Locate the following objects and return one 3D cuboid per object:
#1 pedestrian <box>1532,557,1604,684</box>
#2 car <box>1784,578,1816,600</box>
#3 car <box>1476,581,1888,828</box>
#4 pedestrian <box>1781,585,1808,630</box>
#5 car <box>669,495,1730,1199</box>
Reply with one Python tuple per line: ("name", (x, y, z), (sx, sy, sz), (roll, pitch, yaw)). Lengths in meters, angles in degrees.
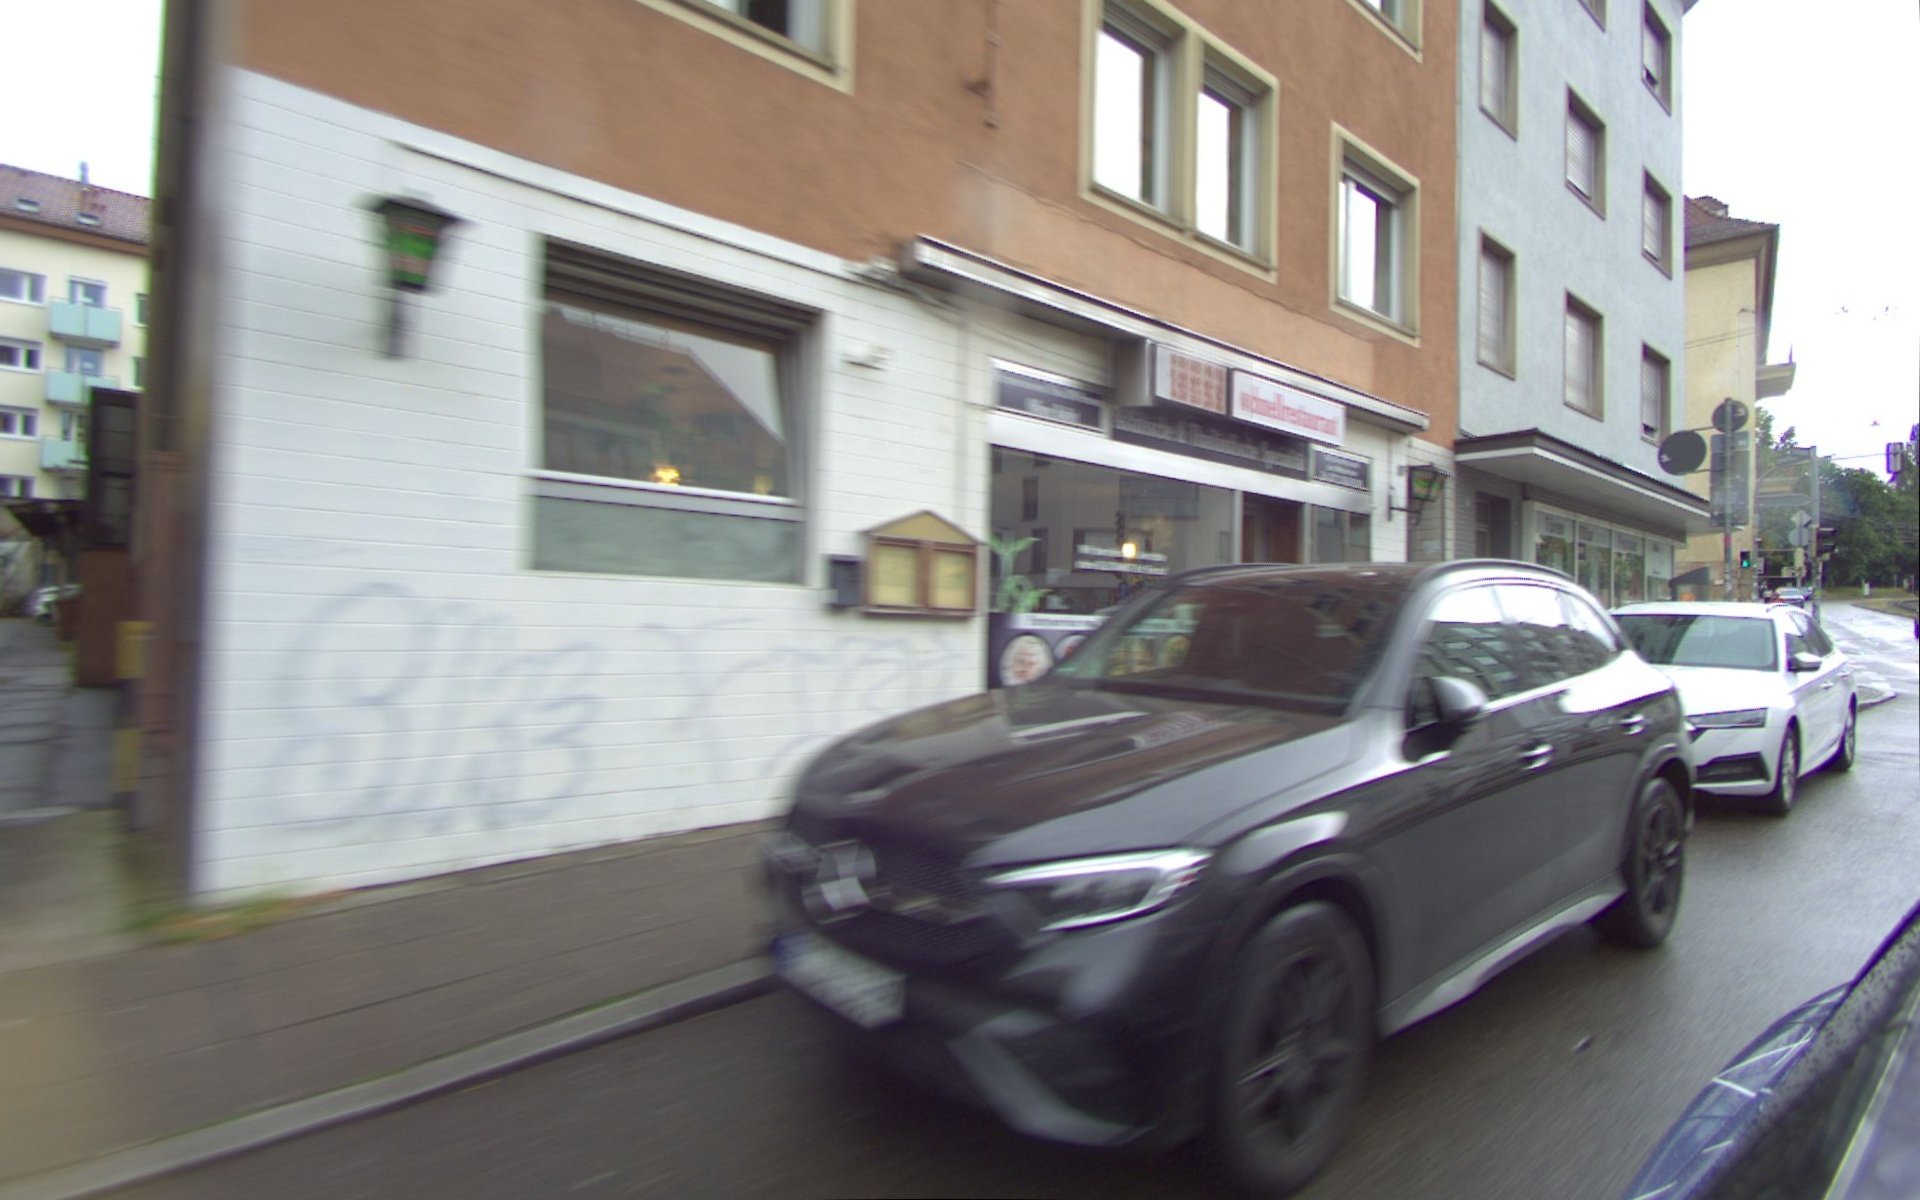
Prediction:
("pedestrian", (7.939, 0.256, 13.206), (0.687, 1.592, 0.752), (2, -1, 38))
("car", (69.071, -0.917, 83.240), (1.717, 1.707, 3.815), (-4, -1, 37))
("car", (6.169, 0.605, 8.425), (4.507, 1.473, 1.805), (-2, 2, -41))
("pedestrian", (33.977, 0.294, 41.216), (0.745, 1.785, 0.807), (3, 3, 38))
("car", (1.366, 0.579, 4.056), (4.507, 1.653, 1.848), (-2, 1, -41))
